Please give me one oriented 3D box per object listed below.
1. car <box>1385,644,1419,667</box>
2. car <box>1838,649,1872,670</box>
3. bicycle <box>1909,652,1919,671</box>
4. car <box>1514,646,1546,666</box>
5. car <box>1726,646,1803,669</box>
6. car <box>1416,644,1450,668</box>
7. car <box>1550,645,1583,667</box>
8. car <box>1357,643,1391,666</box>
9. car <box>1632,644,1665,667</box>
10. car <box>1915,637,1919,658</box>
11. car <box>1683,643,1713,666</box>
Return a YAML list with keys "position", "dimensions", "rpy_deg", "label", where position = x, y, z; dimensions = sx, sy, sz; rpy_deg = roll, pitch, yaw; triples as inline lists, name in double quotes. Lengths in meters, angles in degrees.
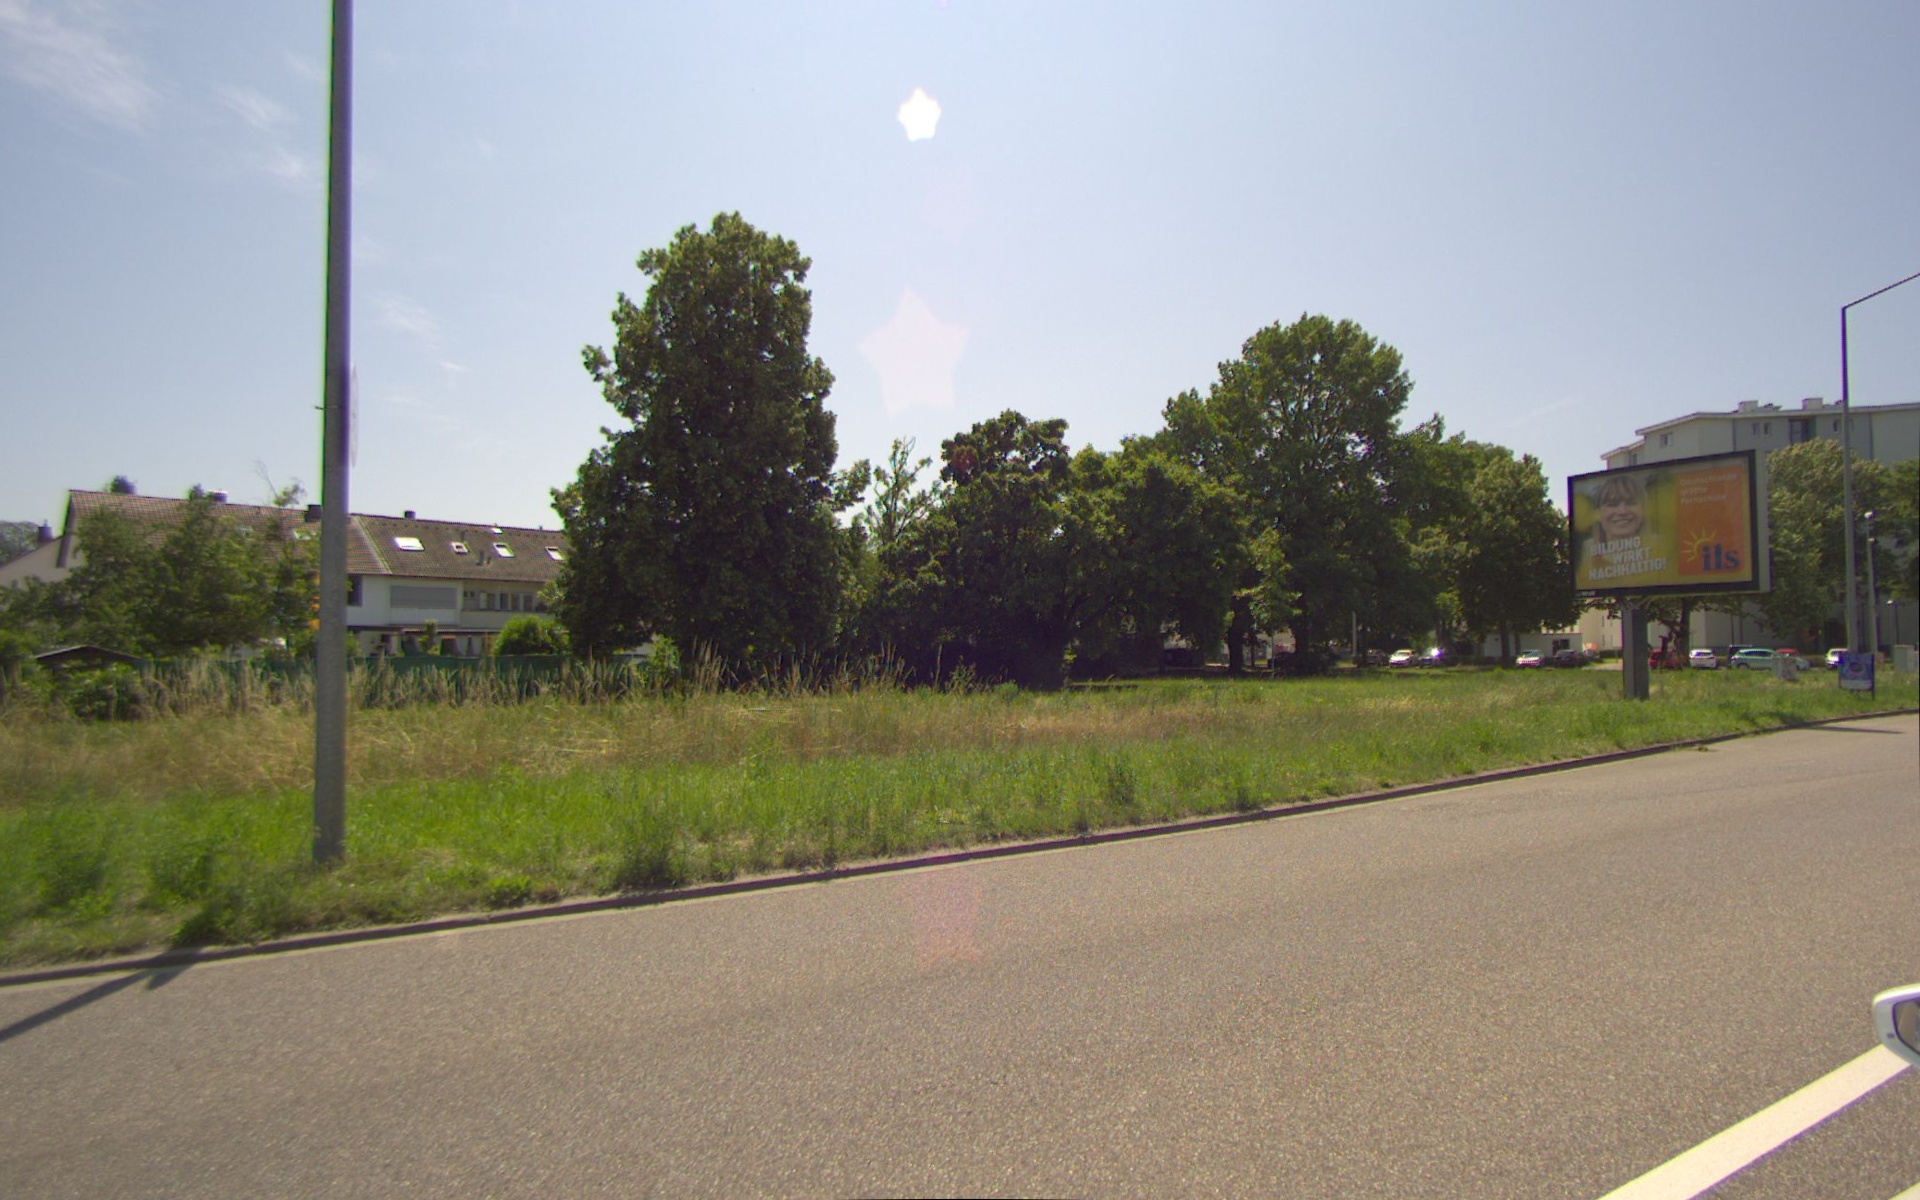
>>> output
- position: [39.509, 4.953, 89.782]
  dimensions: [1.824, 1.973, 3.982]
  rpy_deg: [-1, -2, 39]
  label: "car"
- position: [62.937, 4.183, 70.685]
  dimensions: [1.605, 1.398, 3.981]
  rpy_deg: [-1, -2, 40]
  label: "car"
- position: [56.804, 3.613, 58.701]
  dimensions: [1.842, 1.108, 0.643]
  rpy_deg: [-2, -3, 40]
  label: "bicycle"
- position: [47.464, 4.663, 83.571]
  dimensions: [1.668, 1.582, 3.821]
  rpy_deg: [-3, -4, 39]
  label: "car"
- position: [52.509, 3.754, 65.627]
  dimensions: [3.837, 1.488, 1.769]
  rpy_deg: [-2, -3, 38]
  label: "car"
- position: [41.278, 4.841, 87.586]
  dimensions: [1.824, 1.973, 3.982]
  rpy_deg: [-1, -2, 39]
  label: "car"
- position: [49.614, 4.562, 82.137]
  dimensions: [1.824, 1.733, 3.982]
  rpy_deg: [-1, -2, 39]
  label: "car"
- position: [37.888, 4.981, 91.933]
  dimensions: [1.824, 1.973, 3.982]
  rpy_deg: [-1, -2, 39]
  label: "car"
- position: [53.381, 4.293, 77.904]
  dimensions: [1.820, 1.690, 3.992]
  rpy_deg: [-2, -4, 31]
  label: "car"
- position: [83.270, 3.945, 84.076]
  dimensions: [4.456, 1.791, 1.793]
  rpy_deg: [-1, -3, 12]
  label: "car"
- position: [55.895, 4.109, 76.148]
  dimensions: [1.682, 1.613, 3.988]
  rpy_deg: [-1, -2, 35]
  label: "car"
